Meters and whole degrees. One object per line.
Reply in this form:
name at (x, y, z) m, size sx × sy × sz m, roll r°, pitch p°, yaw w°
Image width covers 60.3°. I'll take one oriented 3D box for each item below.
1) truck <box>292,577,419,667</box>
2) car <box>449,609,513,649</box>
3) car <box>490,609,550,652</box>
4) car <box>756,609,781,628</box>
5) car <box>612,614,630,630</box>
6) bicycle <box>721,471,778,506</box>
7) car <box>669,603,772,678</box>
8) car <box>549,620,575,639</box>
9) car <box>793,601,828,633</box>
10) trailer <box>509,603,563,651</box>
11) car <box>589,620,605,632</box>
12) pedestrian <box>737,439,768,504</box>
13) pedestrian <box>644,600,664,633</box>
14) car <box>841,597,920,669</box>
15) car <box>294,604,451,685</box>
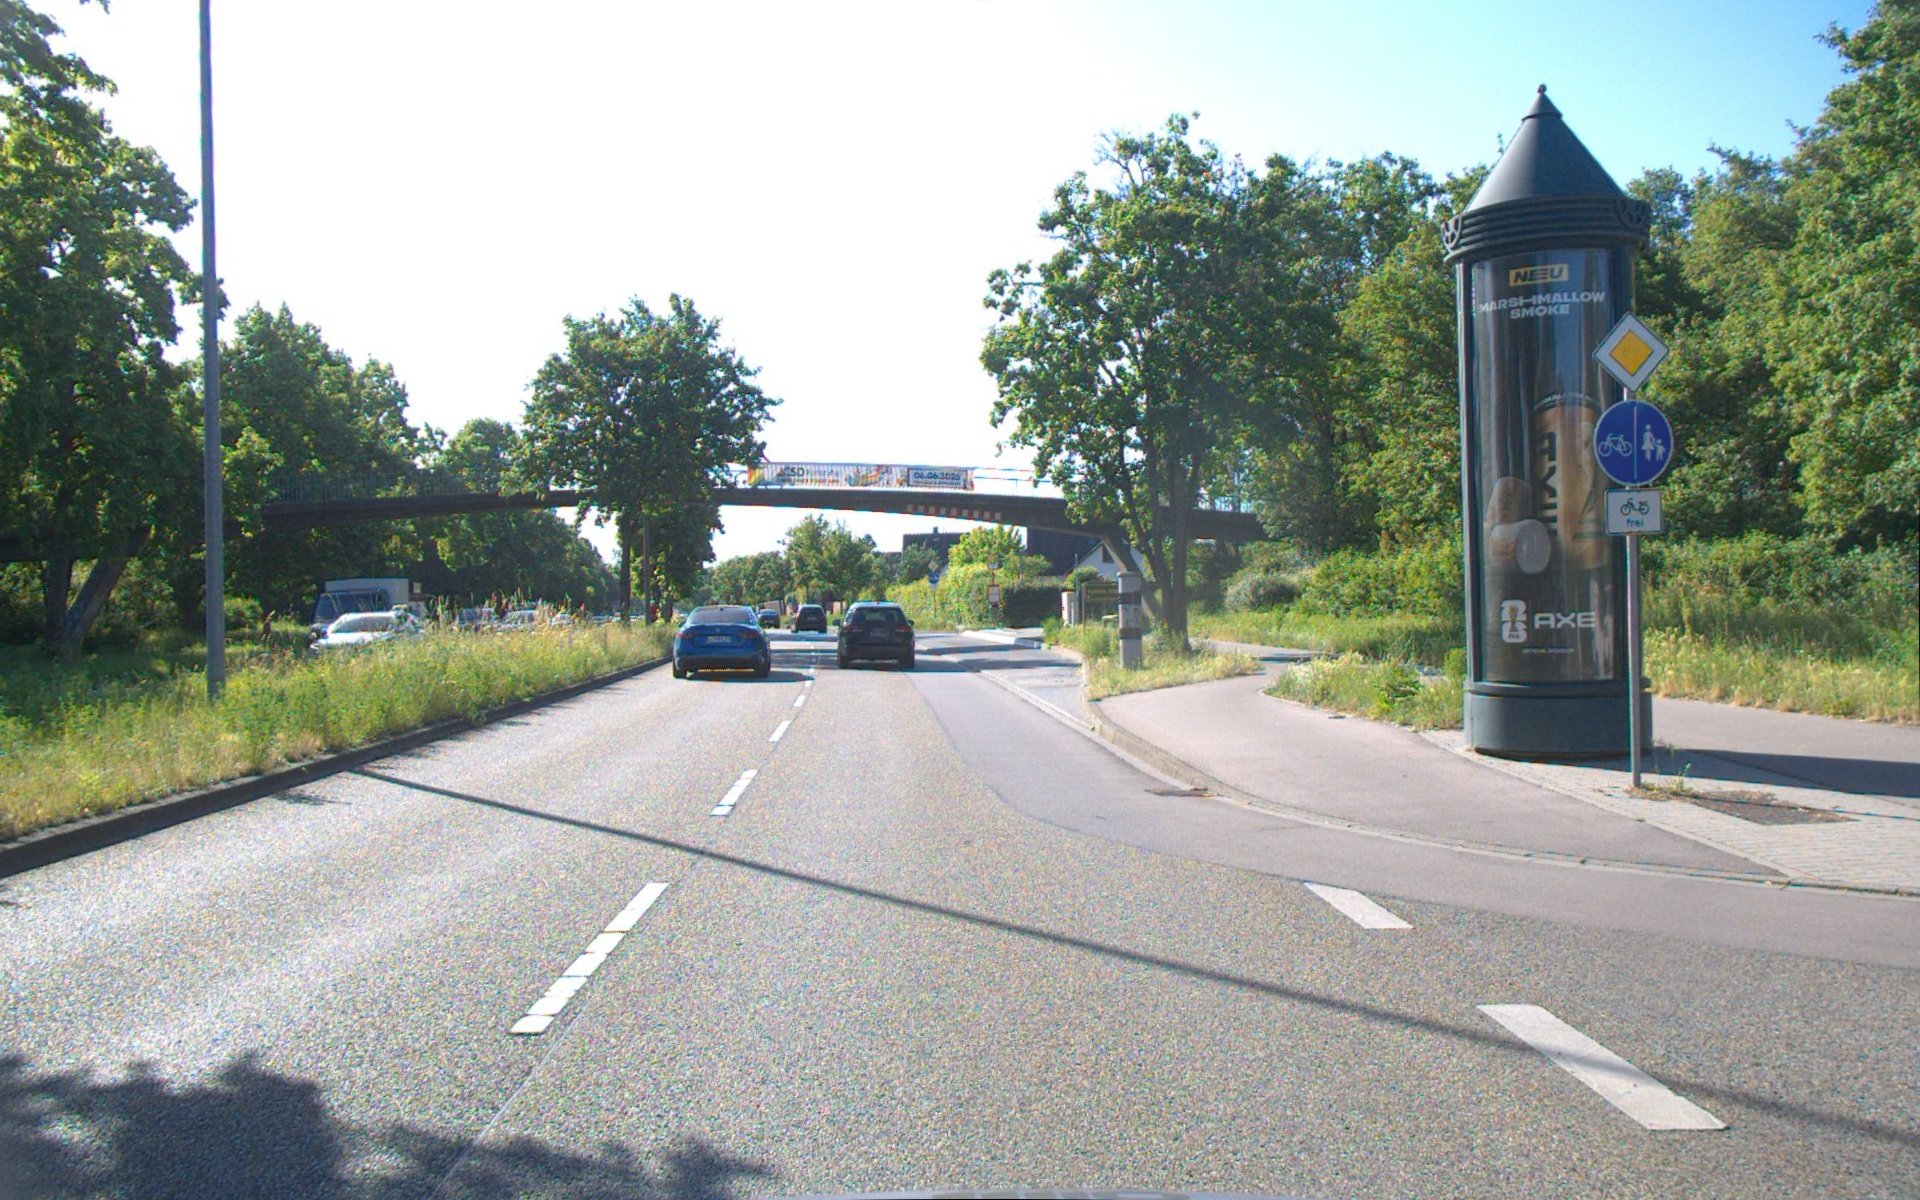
truck at (-18.805, 0.650, 51.787) m, size 2.130 × 2.556 × 5.736 m, roll -3°, pitch 0°, yaw -4°
car at (-21.227, 1.273, 73.479) m, size 1.820 × 1.634 × 4.363 m, roll -3°, pitch 0°, yaw -5°
car at (-17.522, 1.248, 65.967) m, size 1.663 × 1.610 × 4.019 m, roll -2°, pitch -1°, yaw -6°
car at (-14.835, 1.428, 128.146) m, size 1.862 × 1.379 × 3.993 m, roll -1°, pitch 0°, yaw -7°
car at (-36.558, 2.395, 178.381) m, size 1.699 × 1.660 × 4.187 m, roll -2°, pitch 0°, yaw -11°
bicycle at (-7.320, -3.888, 57.527) m, size 1.951 × 1.127 × 0.726 m, roll 1°, pitch 0°, yaw -8°
car at (-4.887, 0.788, 33.957) m, size 1.957 × 1.429 × 3.993 m, roll 1°, pitch 0°, yaw -8°
car at (-32.397, 2.414, 134.758) m, size 1.511 × 1.456 × 4.248 m, roll -2°, pitch 0°, yaw -7°
car at (-8.130, 0.906, 89.593) m, size 1.711 × 1.625 × 4.167 m, roll -1°, pitch 0°, yaw -8°
trailer at (-17.922, 1.117, 70.019) m, size 1.532 × 1.943 × 4.277 m, roll -1°, pitch 0°, yaw -6°
car at (-46.949, 3.366, 213.651) m, size 1.776 × 1.526 × 4.576 m, roll -1°, pitch 0°, yaw -16°
pedestrian at (-7.220, -4.473, 57.543) m, size 1.046 × 2.161 × 0.995 m, roll -1°, pitch 0°, yaw -8°
pedestrian at (-16.233, 0.886, 87.808) m, size 0.617 × 1.726 × 0.943 m, roll -1°, pitch 0°, yaw 20°
car at (-1.914, 0.774, 38.938) m, size 1.726 × 1.587 × 3.996 m, roll 1°, pitch -1°, yaw -5°
car at (-13.475, 0.952, 38.292) m, size 1.819 × 1.634 × 5.571 m, roll -3°, pitch 0°, yaw -3°
